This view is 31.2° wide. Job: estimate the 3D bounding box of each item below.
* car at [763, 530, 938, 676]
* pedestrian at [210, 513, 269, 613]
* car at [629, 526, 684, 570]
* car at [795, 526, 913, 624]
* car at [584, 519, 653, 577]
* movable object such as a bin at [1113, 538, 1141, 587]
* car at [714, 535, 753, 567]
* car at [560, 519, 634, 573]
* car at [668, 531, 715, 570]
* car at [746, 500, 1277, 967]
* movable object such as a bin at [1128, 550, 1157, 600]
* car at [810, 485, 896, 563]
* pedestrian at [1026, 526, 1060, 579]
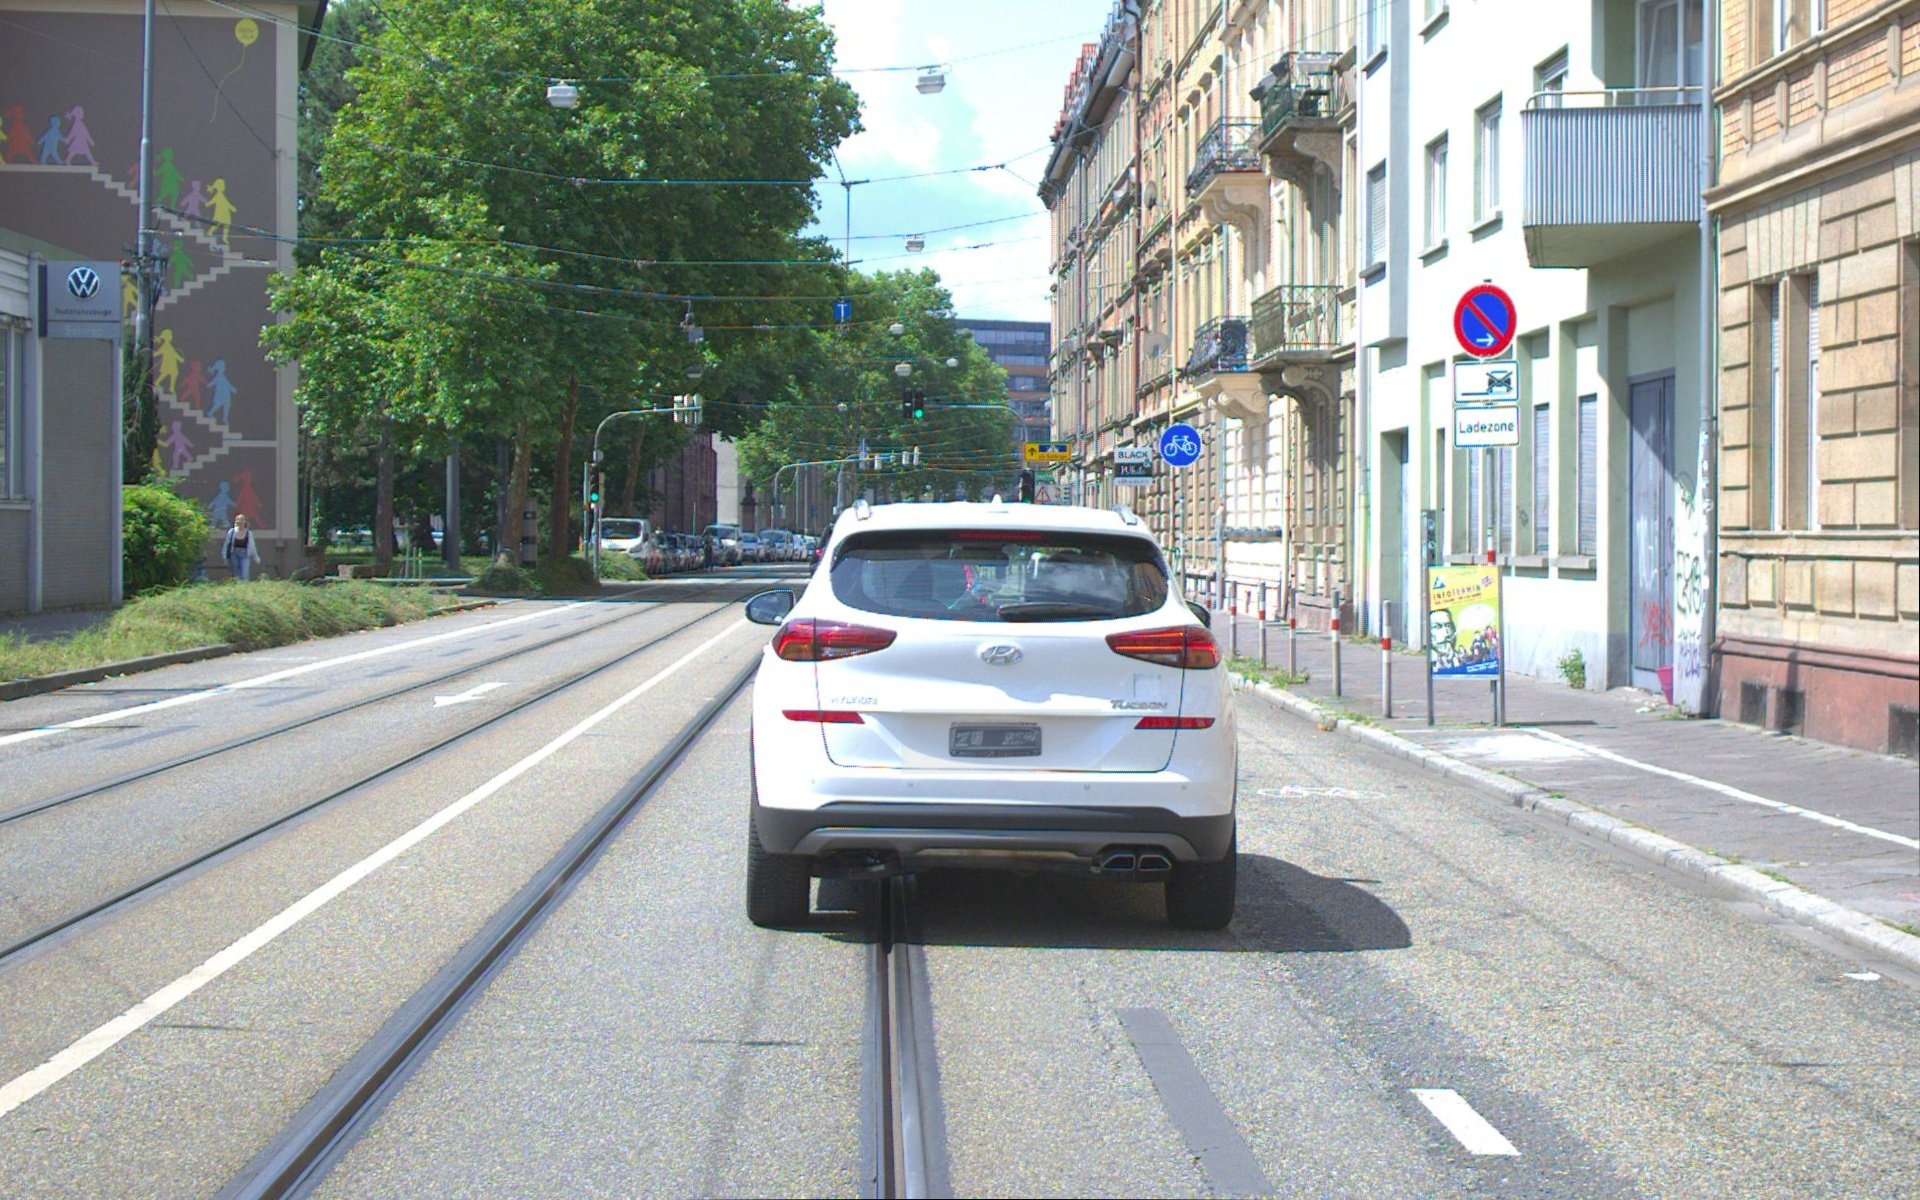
[{"bbox_3d":[-1.147,-0.007,37.697,1.814,1.519,4.085,0,1,0],"label":"car"},{"bbox_3d":[-13.625,-0.709,65.056,0.880,1.859,1.081,-1,1,-1],"label":"pedestrian"},{"bbox_3d":[-11.524,-1.989,130.741,1.950,1.626,4.001,1,1,-4],"label":"car"},{"bbox_3d":[-1.686,-0.438,55.373,1.814,1.519,3.956,0,1,-1],"label":"car"},{"bbox_3d":[-11.461,-1.764,115.489,1.950,1.888,4.566,1,1,-1],"label":"car"},{"bbox_3d":[3.948,-0.886,81.273,0.612,1.139,0.638,1,1,-1],"label":"movable object such as a bin"},{"bbox_3d":[-11.828,-2.573,179.682,1.950,1.626,4.001,1,1,-4],"label":"car"},{"bbox_3d":[-11.529,-1.725,109.435,1.950,1.626,4.576,1,1,-1],"label":"car"},{"bbox_3d":[-11.578,-2.165,148.429,1.950,1.626,4.001,1,1,-4],"label":"car"},{"bbox_3d":[0.058,0.447,14.411,1.852,1.628,4.181,2,1,-4],"label":"car"},{"bbox_3d":[4.240,-0.588,79.851,0.612,1.139,0.638,1,1,-1],"label":"movable object such as a bin"},{"bbox_3d":[-2.322,-1.663,75.207,1.814,1.656,4.085,0,1,-1],"label":"car"},{"bbox_3d":[2.502,-1.440,103.531,0.938,1.567,1.050,1,1,-1],"label":"pedestrian"}]
